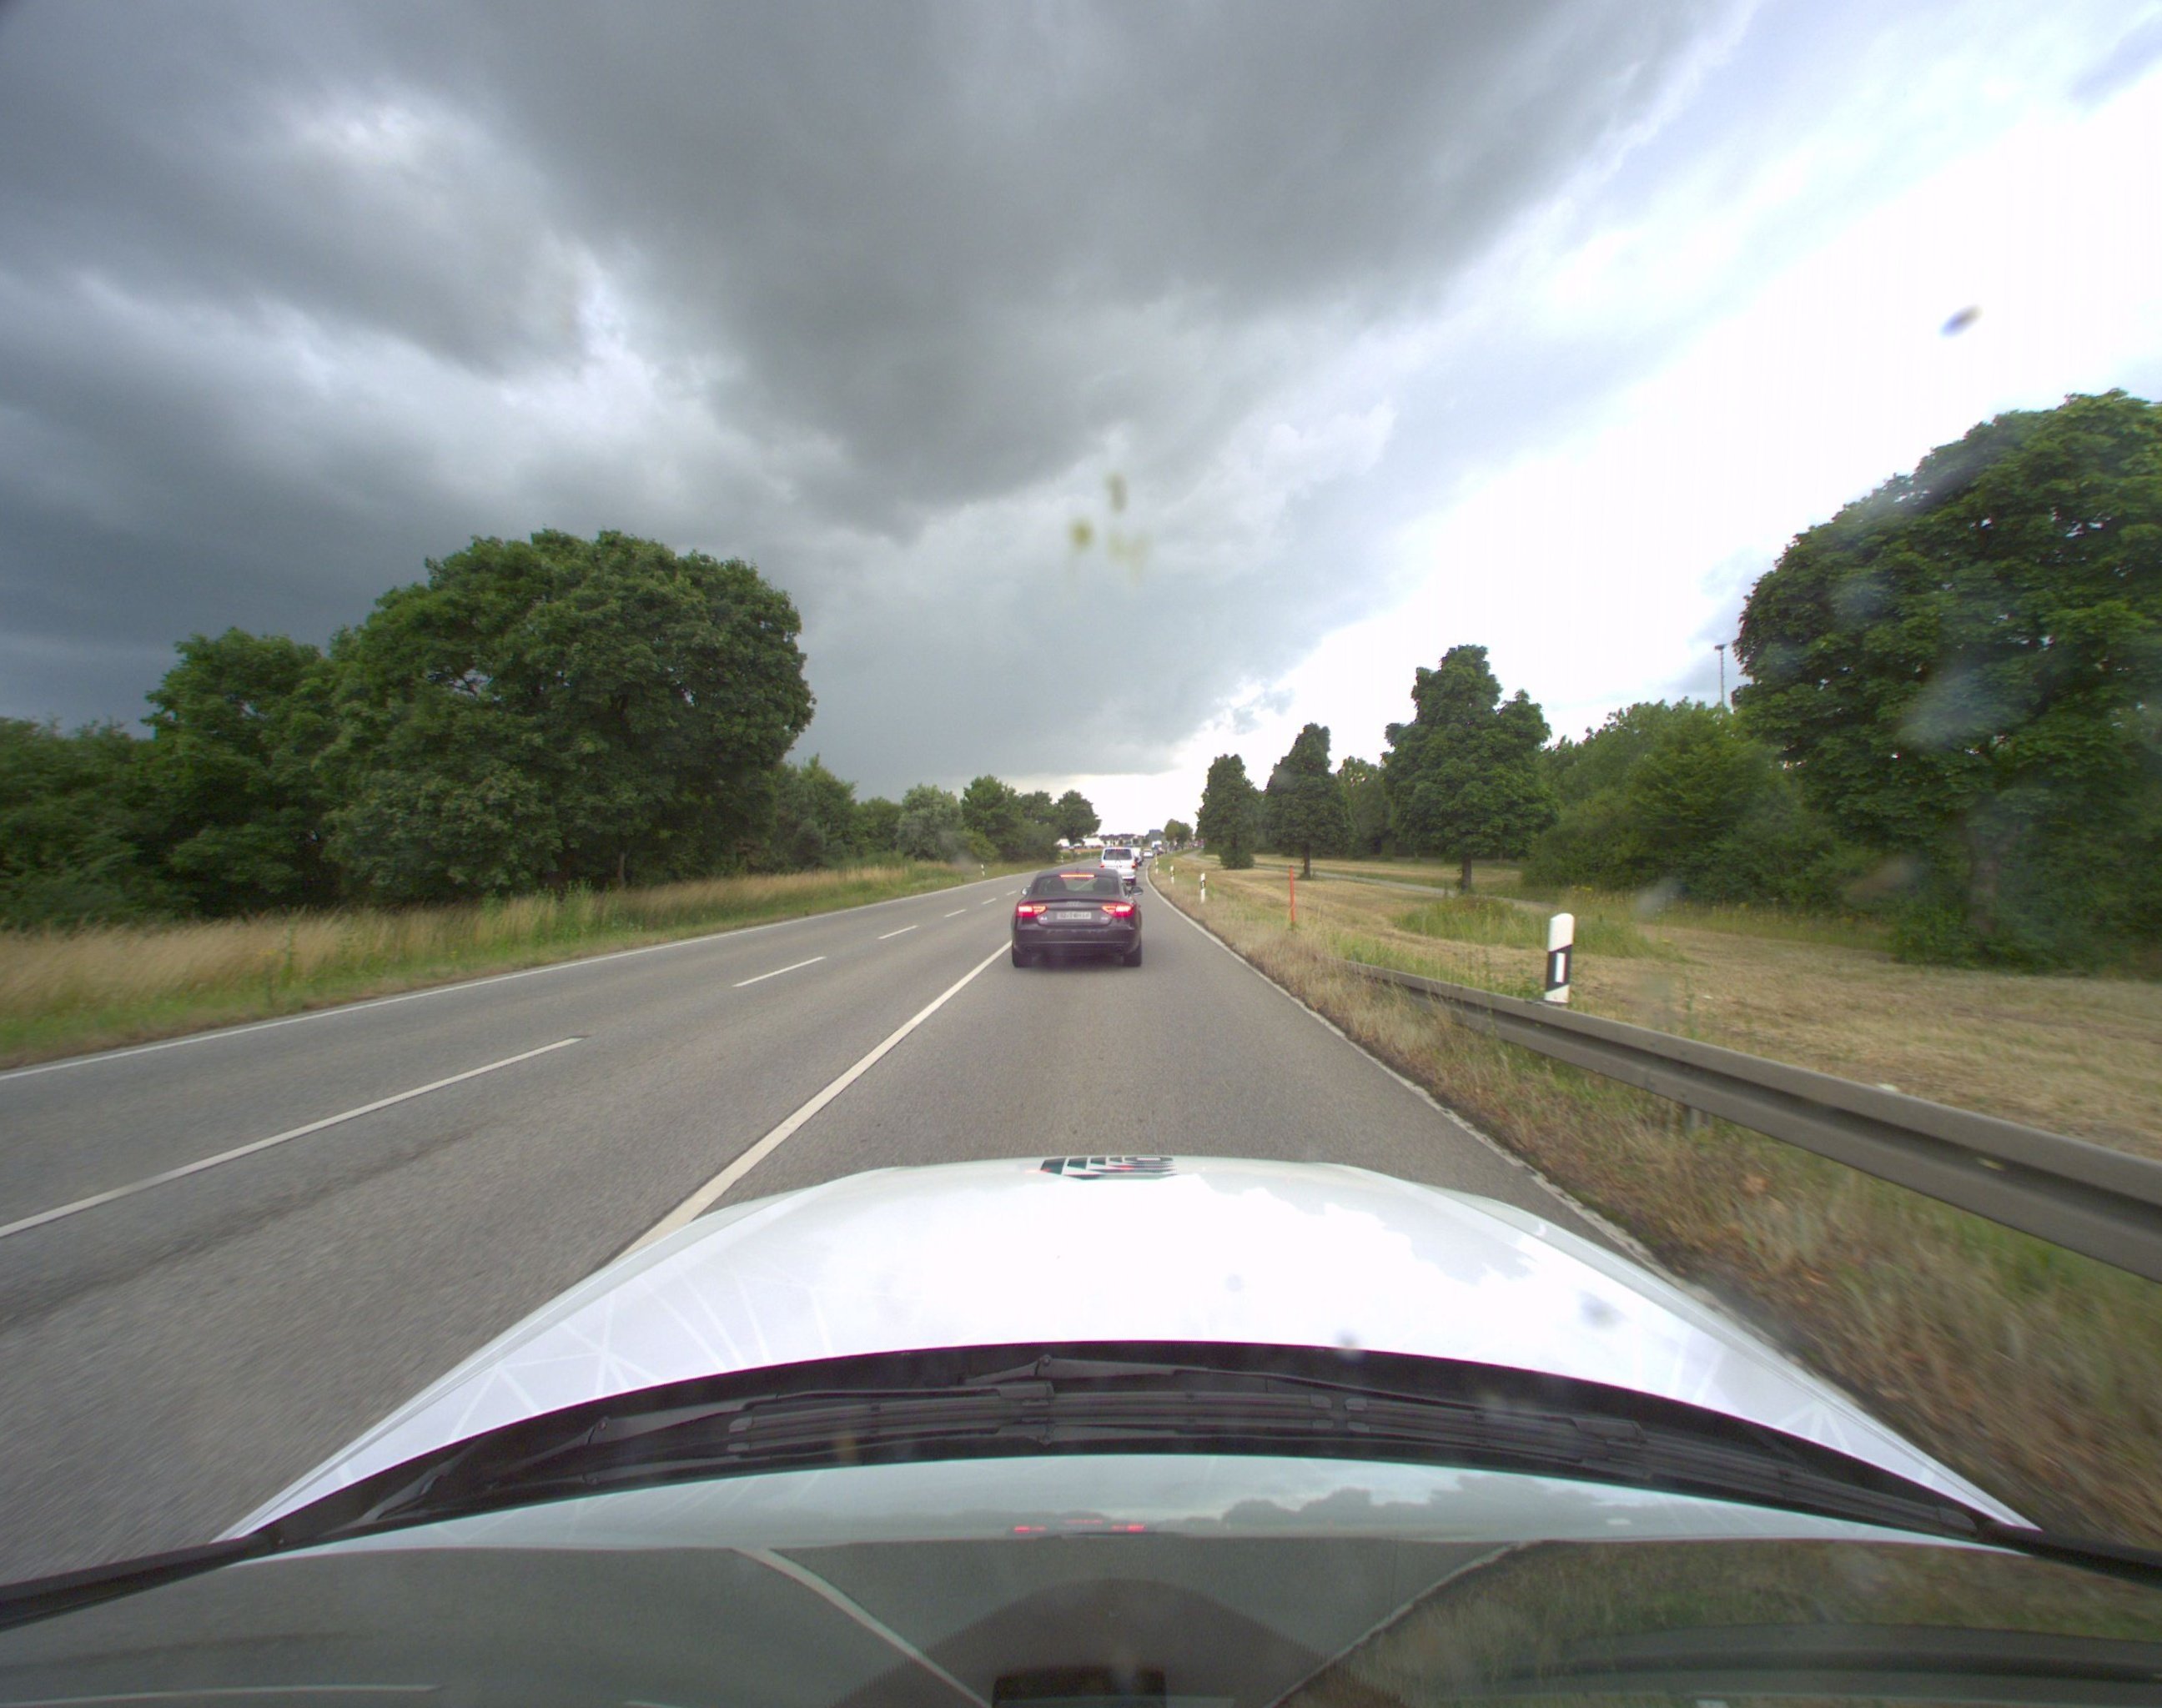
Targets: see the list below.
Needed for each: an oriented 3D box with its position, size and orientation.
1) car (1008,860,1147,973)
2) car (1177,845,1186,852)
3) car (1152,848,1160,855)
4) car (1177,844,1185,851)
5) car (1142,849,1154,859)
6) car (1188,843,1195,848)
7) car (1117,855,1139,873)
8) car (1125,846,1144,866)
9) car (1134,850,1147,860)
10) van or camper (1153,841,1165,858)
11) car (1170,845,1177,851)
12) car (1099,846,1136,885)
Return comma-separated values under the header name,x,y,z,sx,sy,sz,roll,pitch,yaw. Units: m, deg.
name,x,y,z,sx,sy,sz,roll,pitch,yaw
car,0.000,0.821,12.471,1.776,1.376,4.001,0,0,1
car,28.940,-1.489,234.252,1.986,2.013,4.001,-1,0,1
car,13.548,-0.435,147.763,1.251,1.353,3.473,-1,0,7
car,24.566,-1.635,200.257,1.814,1.596,4.003,0,0,2
car,10.661,0.064,129.559,1.726,1.514,3.754,-1,0,7
car,33.710,-2.628,248.048,1.814,1.493,4.003,0,0,2
car,4.130,0.852,71.261,1.787,1.464,3.253,-1,0,5
car,5.798,0.241,88.426,1.984,2.088,4.005,-1,0,4
car,7.779,0.104,106.643,1.528,1.277,3.750,-1,0,4
van or camper,15.905,-0.860,166.692,2.329,3.481,5.726,-1,0,5
car,24.073,-1.546,211.907,1.712,1.451,4.003,0,0,2
car,1.853,0.557,42.326,1.832,1.882,4.001,0,0,1
